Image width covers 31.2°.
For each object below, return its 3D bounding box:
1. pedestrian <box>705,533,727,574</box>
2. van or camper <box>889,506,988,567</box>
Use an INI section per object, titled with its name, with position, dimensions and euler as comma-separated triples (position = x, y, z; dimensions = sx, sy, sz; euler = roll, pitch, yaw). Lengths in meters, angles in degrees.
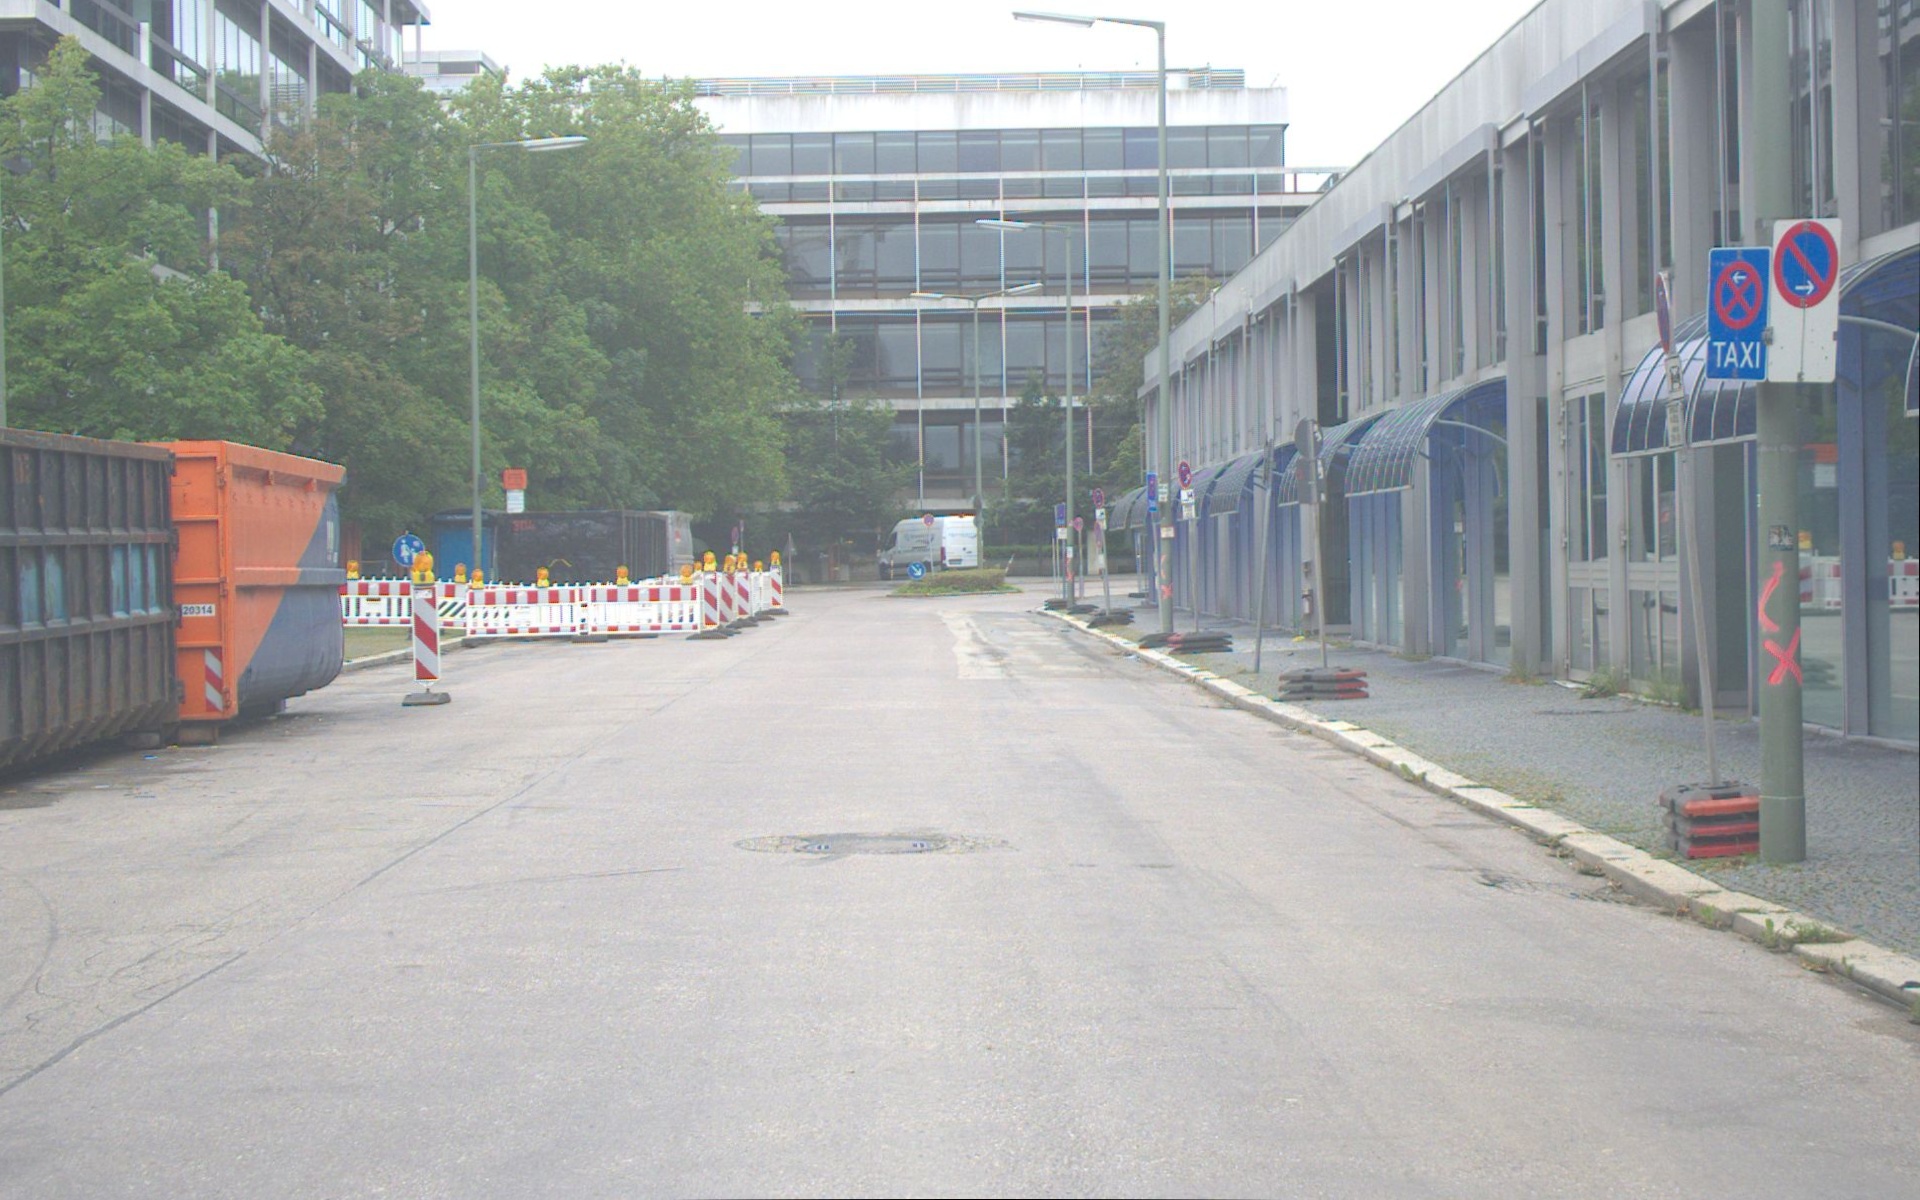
[pedestrian]
position = -10.083, -1.931, 142.090
dimensions = 0.741, 1.671, 0.682
euler = -1, 1, -20
[van or camper]
position = -0.918, -2.650, 143.326
dimensions = 2.085, 2.483, 5.068
euler = -1, 1, -26
